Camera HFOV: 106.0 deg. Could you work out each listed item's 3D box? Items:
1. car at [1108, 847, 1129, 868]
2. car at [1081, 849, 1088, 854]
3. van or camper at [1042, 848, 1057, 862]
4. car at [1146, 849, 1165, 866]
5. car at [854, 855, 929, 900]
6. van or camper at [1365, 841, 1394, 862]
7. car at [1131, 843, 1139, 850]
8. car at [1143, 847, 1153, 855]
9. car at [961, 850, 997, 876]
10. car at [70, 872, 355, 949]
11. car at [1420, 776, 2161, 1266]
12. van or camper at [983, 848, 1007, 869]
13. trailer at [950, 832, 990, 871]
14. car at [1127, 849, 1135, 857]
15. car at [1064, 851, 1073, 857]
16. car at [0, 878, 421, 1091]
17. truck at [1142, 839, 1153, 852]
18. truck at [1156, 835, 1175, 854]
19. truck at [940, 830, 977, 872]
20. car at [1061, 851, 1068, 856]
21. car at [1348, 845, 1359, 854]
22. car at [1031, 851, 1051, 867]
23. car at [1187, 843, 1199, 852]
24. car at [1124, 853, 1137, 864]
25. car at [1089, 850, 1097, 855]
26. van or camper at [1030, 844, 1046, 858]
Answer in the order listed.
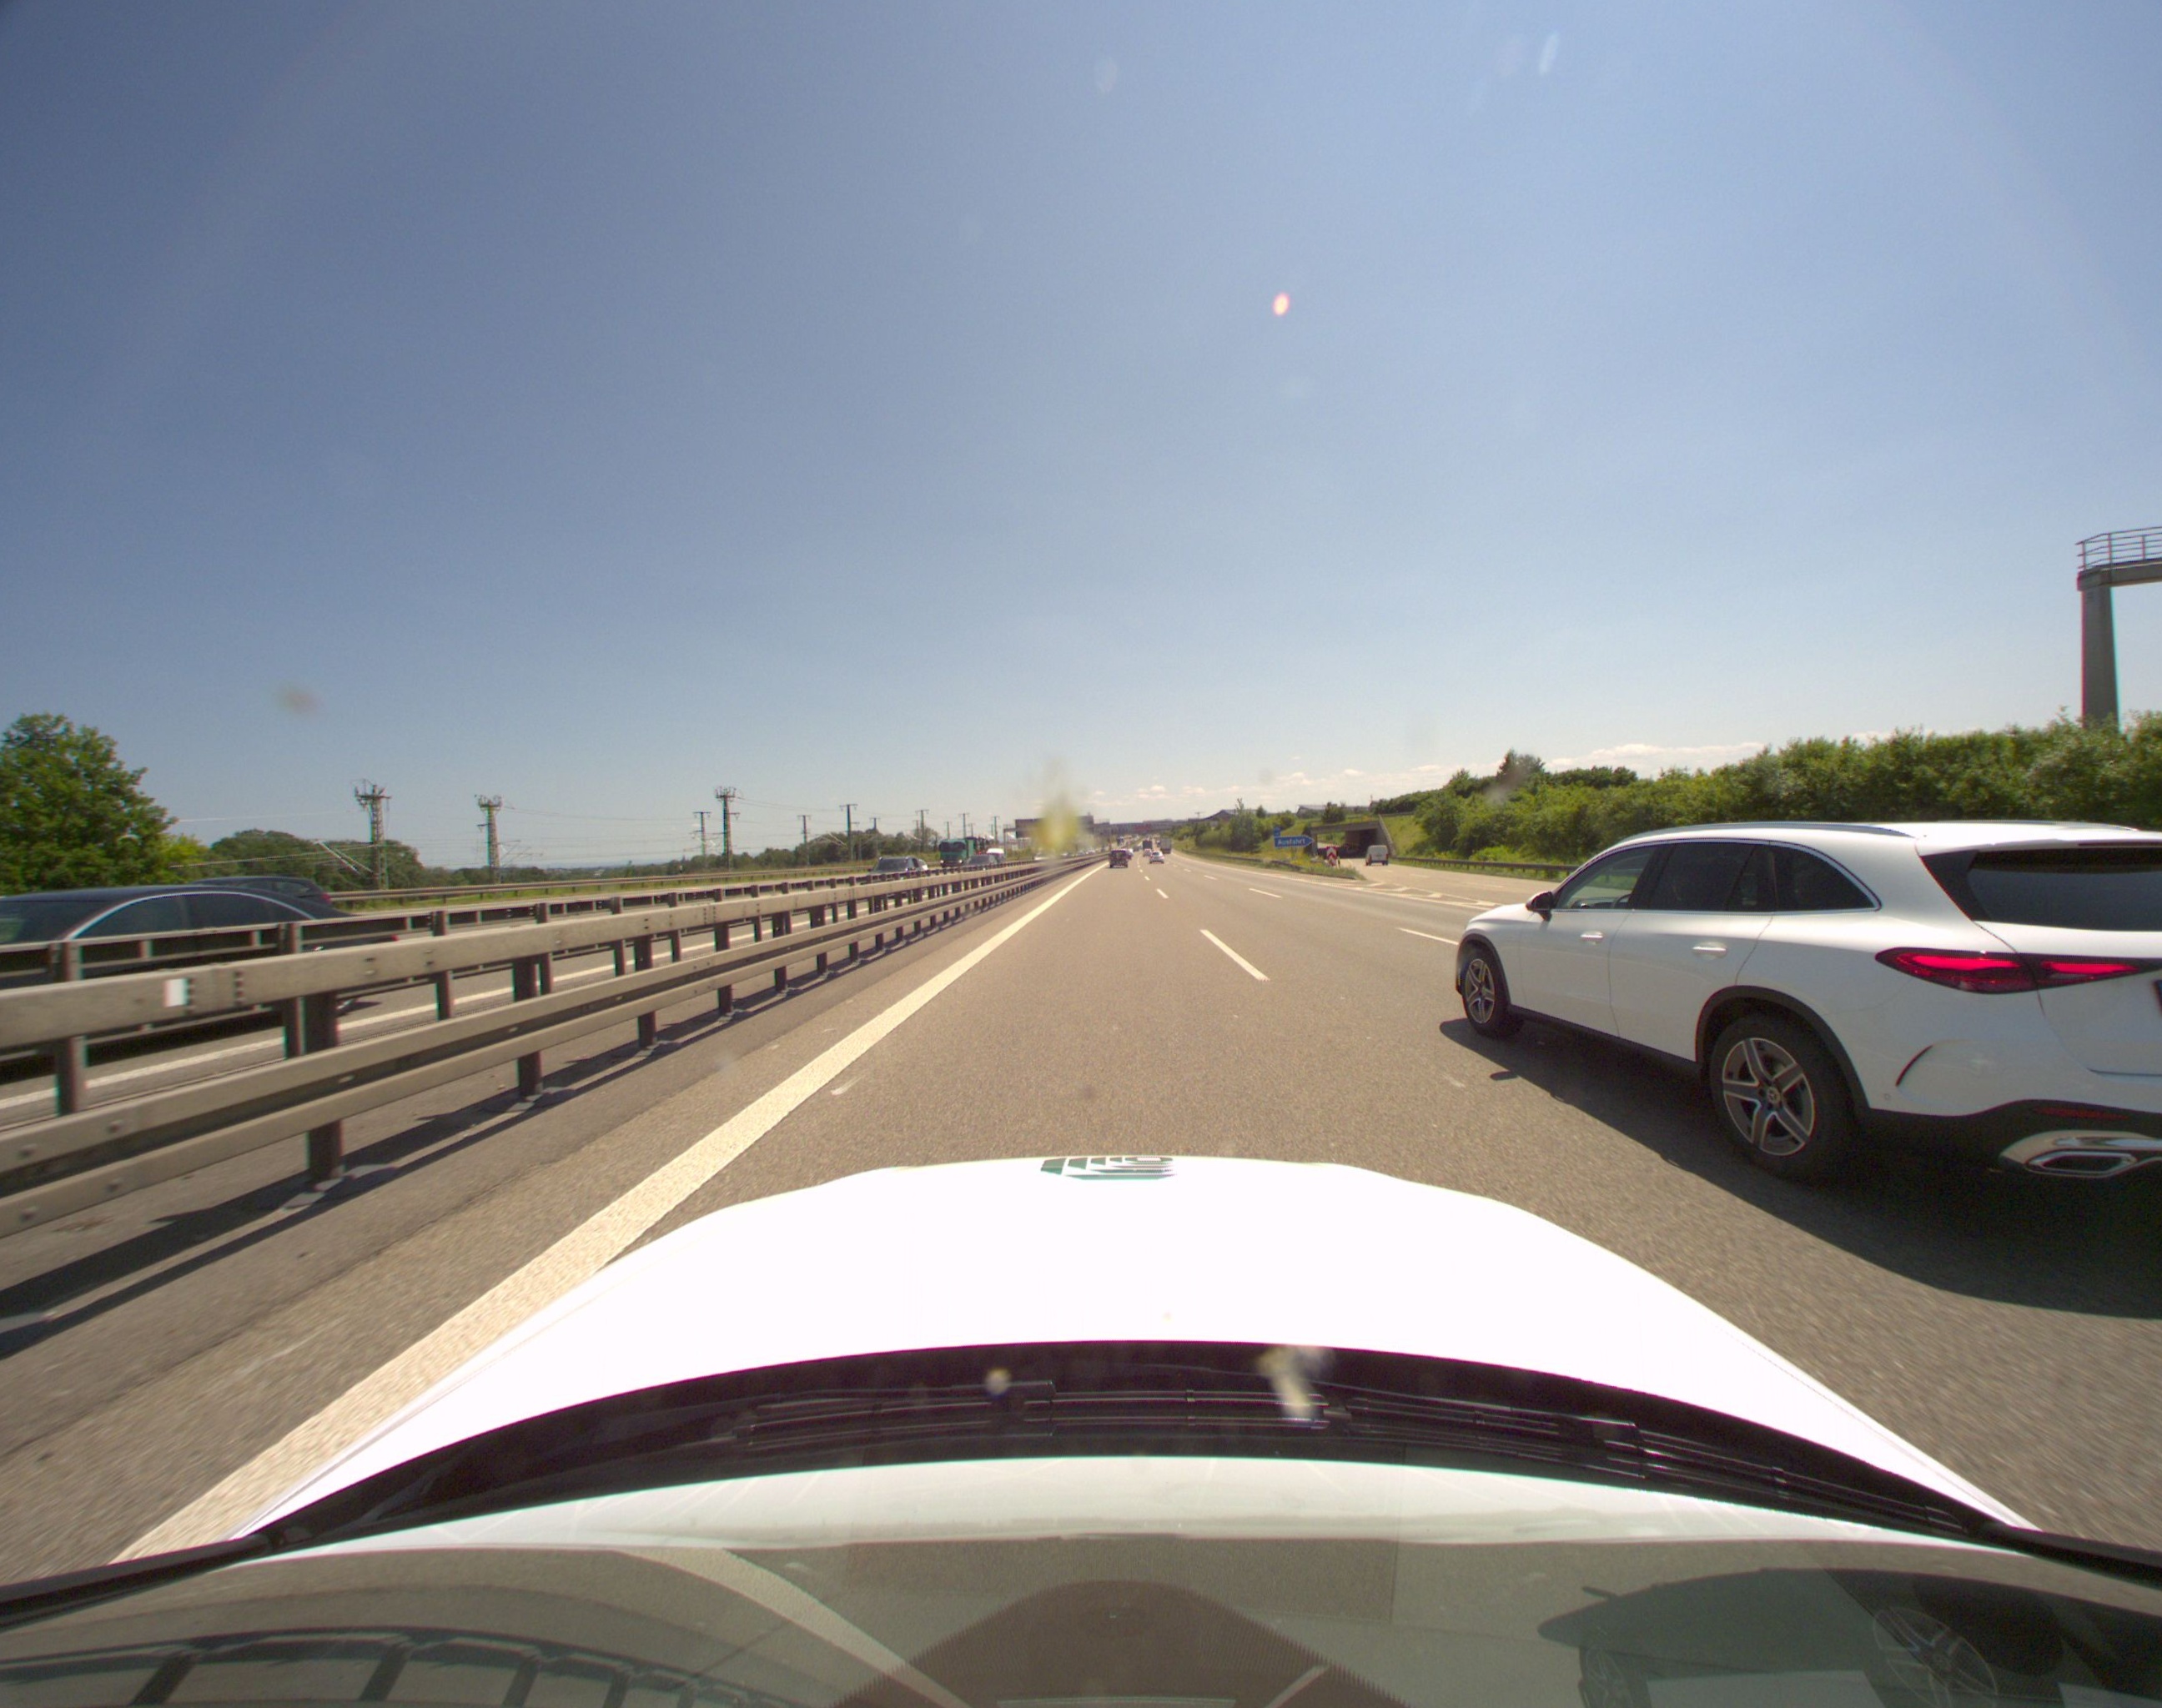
[{"bbox_3d":[3.678,0.371,79.810,1.919,1.919,4.951,-1,-1,2],"label":"car"},{"bbox_3d":[0.953,-0.693,210.942,1.758,1.347,4.003,-1,0,3],"label":"car"},{"bbox_3d":[-5.567,0.108,143.320,1.985,2.300,5.898,-1,0,3],"label":"van or camper"},{"bbox_3d":[9.038,0.466,98.681,1.920,1.919,4.518,-1,-1,1],"label":"car"},{"bbox_3d":[-7.723,0.905,33.657,1.749,1.669,4.701,-1,0,3],"label":"car"},{"bbox_3d":[30.045,-0.245,82.118,2.141,2.014,4.319,-1,-1,13],"label":"van or camper"},{"bbox_3d":[16.974,-2.420,255.370,2.178,2.002,4.003,-1,3,2],"label":"car"},{"bbox_3d":[13.322,-0.575,161.949,1.974,1.473,4.003,-2,-1,3],"label":"car"},{"bbox_3d":[-7.020,0.606,56.458,1.749,1.741,4.723,-1,0,2],"label":"car"},{"bbox_3d":[-19.680,1.198,18.806,1.689,1.425,4.457,-1,0,2],"label":"car"},{"bbox_3d":[4.064,0.587,5.238,1.890,1.647,5.002,-1,-1,3],"label":"car"},{"bbox_3d":[-9.143,0.474,86.807,1.749,2.221,4.944,-1,0,2],"label":"van or camper"},{"bbox_3d":[-12.968,-0.165,96.255,2.749,4.245,11.205,-1,-1,2],"label":"trailer"},{"bbox_3d":[10.330,-0.105,167.779,1.568,1.552,3.970,-1,-1,5],"label":"car"},{"bbox_3d":[-2.761,0.002,179.627,1.686,1.347,4.003,-1,0,3],"label":"car"},{"bbox_3d":[-8.895,1.043,7.239,1.834,1.460,4.999,-1,0,2],"label":"car"},{"bbox_3d":[17.292,-2.270,212.194,2.691,3.109,10.667,-1,-1,3],"label":"truck"},{"bbox_3d":[20.655,-2.383,200.514,4.022,4.261,11.768,-1,2,3],"label":"truck"},{"bbox_3d":[-13.178,-0.288,87.792,2.750,4.245,6.978,-1,-1,1],"label":"truck"},{"bbox_3d":[-4.757,-0.086,234.094,1.758,1.347,4.003,-1,0,3],"label":"car"},{"bbox_3d":[51.805,-0.851,154.701,1.977,1.750,4.018,-2,-1,18],"label":"car"},{"bbox_3d":[-4.611,0.549,94.402,1.800,1.798,4.842,-1,0,2],"label":"car"},{"bbox_3d":[24.087,-1.433,175.384,1.920,1.919,4.518,-1,-1,1],"label":"car"},{"bbox_3d":[7.985,0.748,130.333,1.917,1.627,4.525,-1,-1,6],"label":"car"},{"bbox_3d":[3.470,-0.316,232.560,1.939,1.347,4.003,-1,0,3],"label":"car"},{"bbox_3d":[-8.875,-0.653,168.992,2.506,2.665,8.071,-1,0,3],"label":"van or camper"}]
